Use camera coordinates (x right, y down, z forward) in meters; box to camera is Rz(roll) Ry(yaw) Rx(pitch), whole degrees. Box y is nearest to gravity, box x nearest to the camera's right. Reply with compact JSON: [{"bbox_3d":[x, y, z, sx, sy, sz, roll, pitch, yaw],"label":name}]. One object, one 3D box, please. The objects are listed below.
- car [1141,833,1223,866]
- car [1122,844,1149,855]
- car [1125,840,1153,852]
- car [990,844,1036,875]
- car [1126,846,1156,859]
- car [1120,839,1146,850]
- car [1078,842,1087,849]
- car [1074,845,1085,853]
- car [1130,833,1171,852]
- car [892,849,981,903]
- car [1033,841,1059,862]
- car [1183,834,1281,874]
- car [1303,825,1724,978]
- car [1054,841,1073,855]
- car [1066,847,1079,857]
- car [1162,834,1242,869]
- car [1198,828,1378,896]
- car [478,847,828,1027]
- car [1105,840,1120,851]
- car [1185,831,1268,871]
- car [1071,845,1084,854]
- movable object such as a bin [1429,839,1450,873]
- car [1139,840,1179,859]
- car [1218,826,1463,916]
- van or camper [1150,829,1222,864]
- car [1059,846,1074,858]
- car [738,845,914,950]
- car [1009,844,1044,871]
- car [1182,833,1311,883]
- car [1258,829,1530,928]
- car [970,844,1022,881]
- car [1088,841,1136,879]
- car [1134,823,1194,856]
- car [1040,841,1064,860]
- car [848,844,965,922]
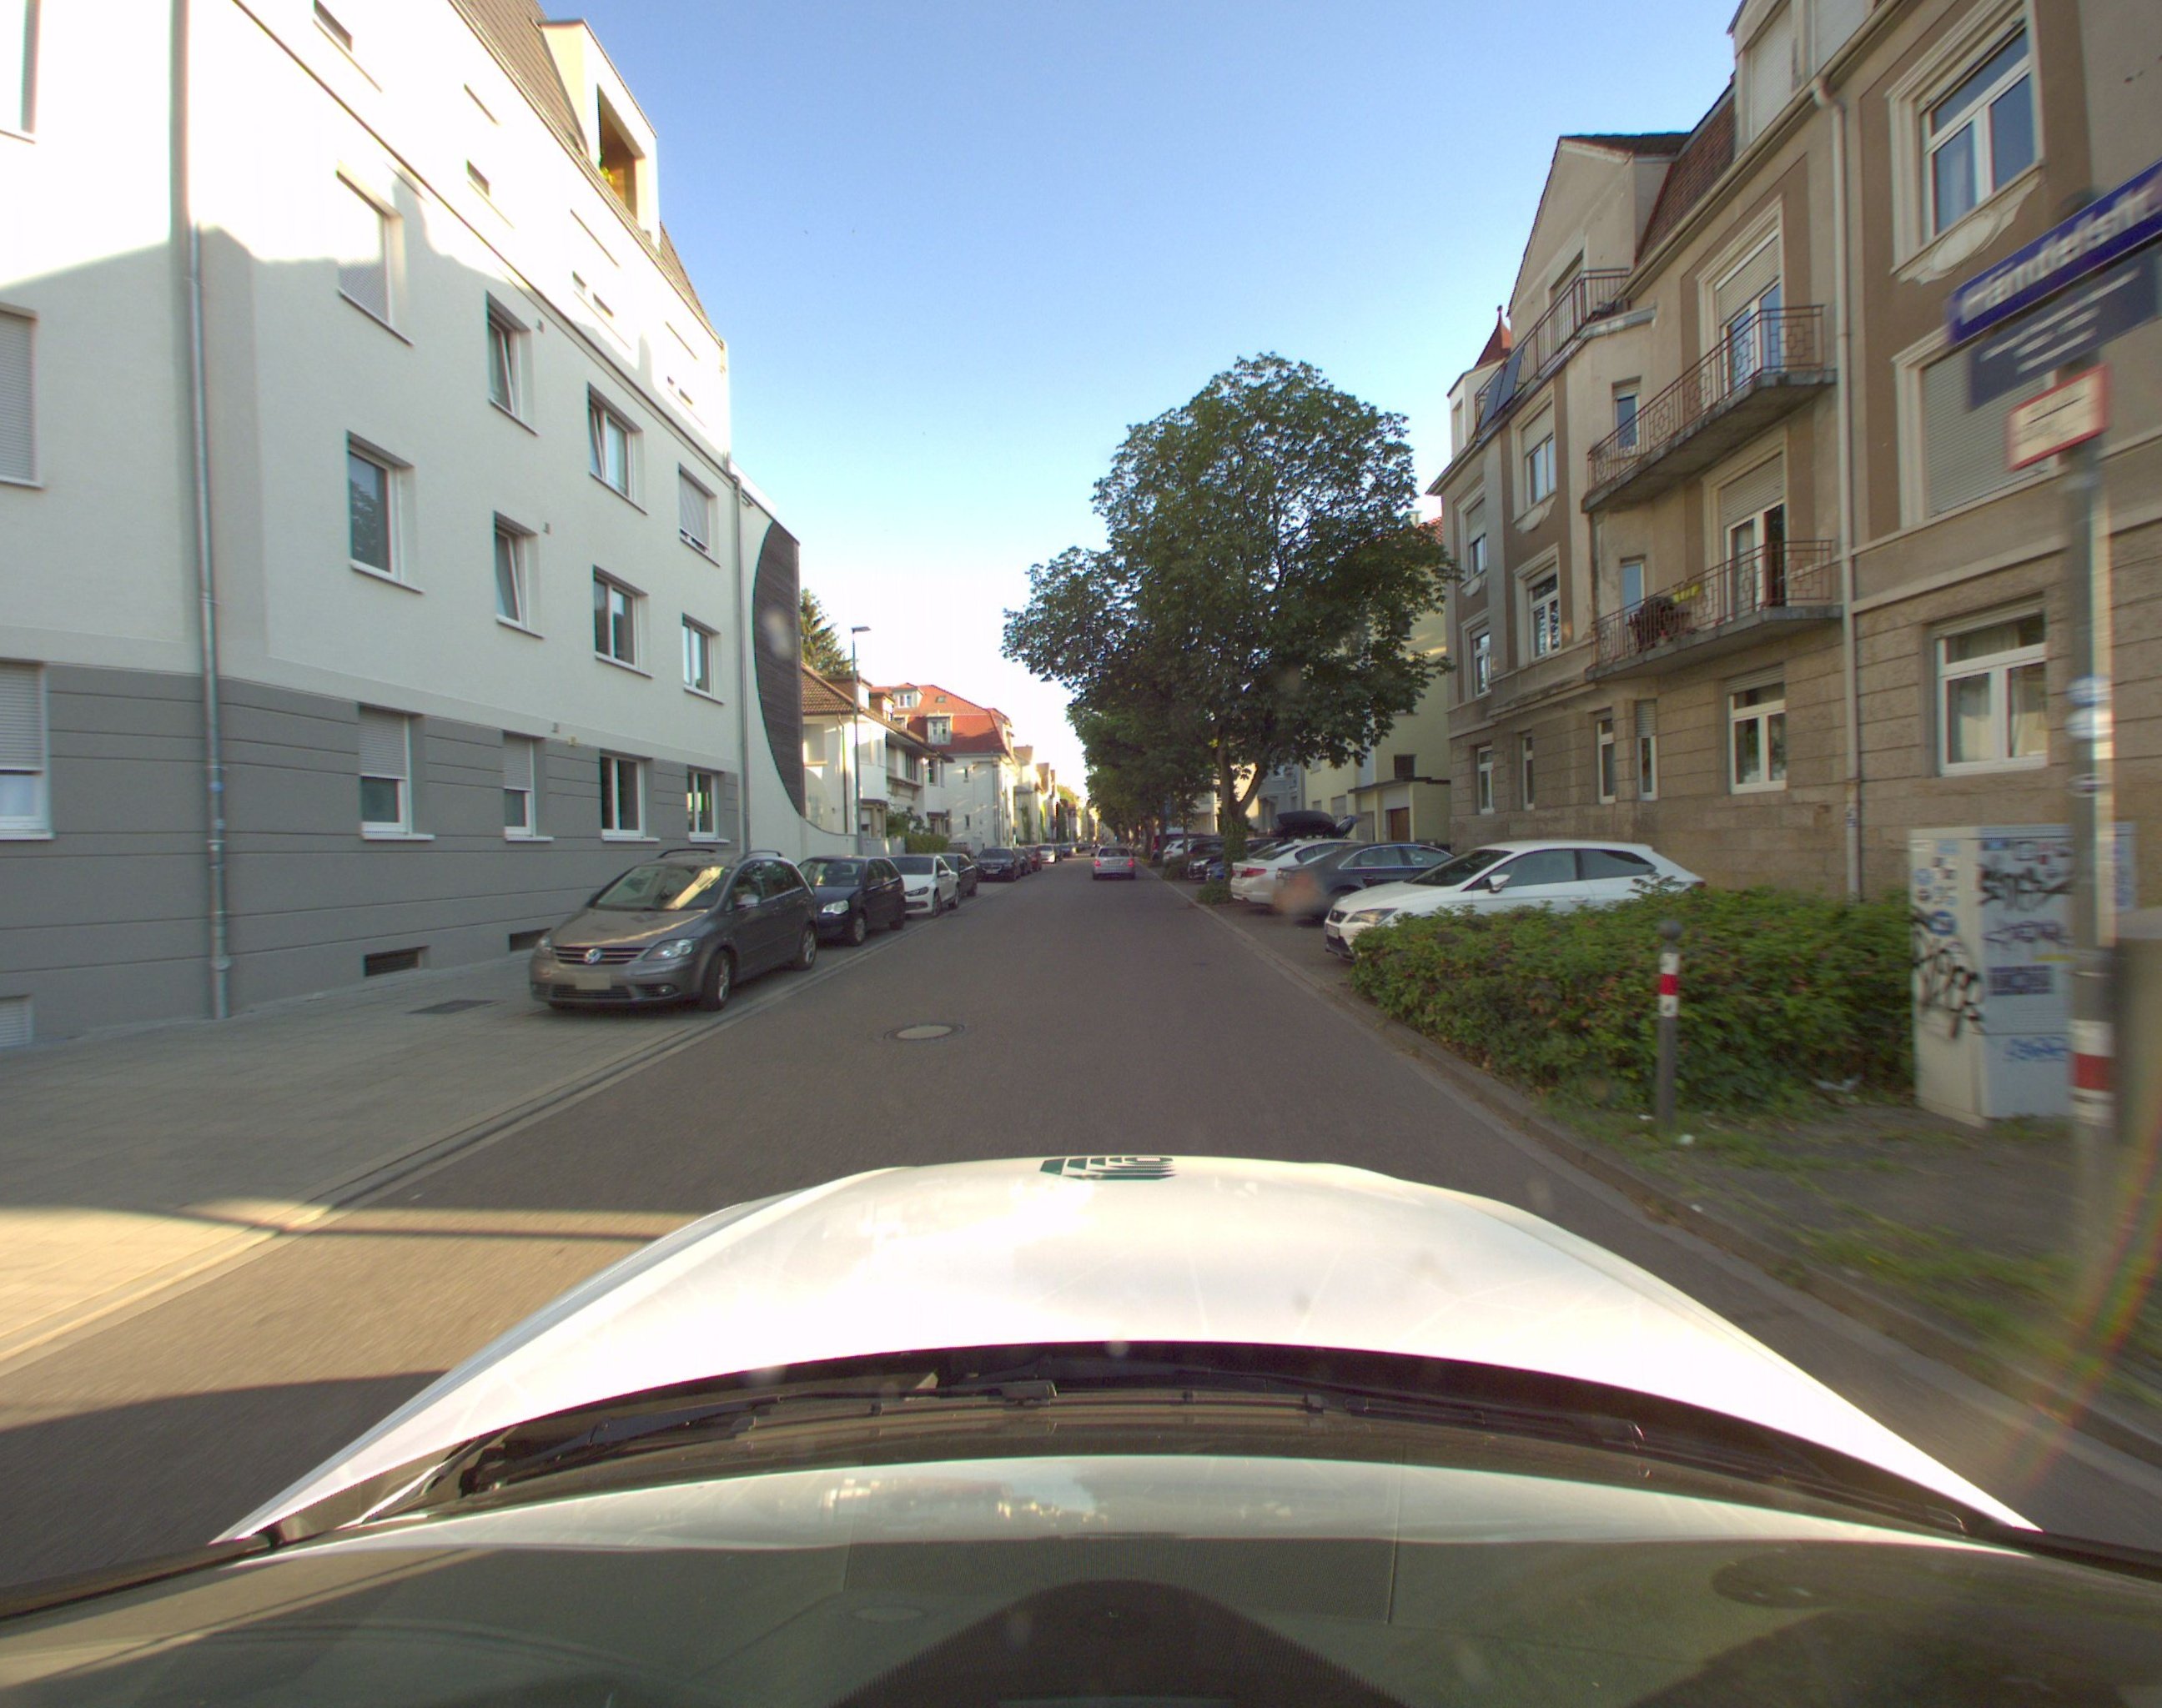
[{"bbox_3d":[5.890,-0.278,47.882,4.609,1.836,1.955,-1,1,1],"label":"car"},{"bbox_3d":[7.848,-0.650,116.942,3.829,1.482,1.806,-2,1,2],"label":"car"},{"bbox_3d":[8.193,-1.149,114.683,3.829,1.482,1.806,-2,1,2],"label":"car"},{"bbox_3d":[-3.472,0.263,42.212,1.776,1.497,4.702,-1,0,2],"label":"car"},{"bbox_3d":[7.839,-0.200,106.473,3.829,1.482,1.806,-2,1,2],"label":"car"},{"bbox_3d":[7.910,-1.467,123.089,3.829,1.482,1.806,-2,1,2],"label":"car"},{"bbox_3d":[0.364,-1.712,171.548,1.792,1.387,3.608,-1,1,2],"label":"car"},{"bbox_3d":[-0.244,-0.902,141.664,1.792,1.387,3.608,-1,1,2],"label":"car"},{"bbox_3d":[7.942,-1.315,93.042,4.504,2.013,2.251,-2,1,0],"label":"car"},{"bbox_3d":[-4.211,0.587,24.386,1.751,1.447,4.144,-1,0,2],"label":"car"},{"bbox_3d":[-2.703,-0.182,62.759,1.653,1.499,3.756,-1,0,2],"label":"car"},{"bbox_3d":[6.442,-0.025,34.972,3.908,1.558,1.727,-2,1,3],"label":"car"},{"bbox_3d":[4.927,0.501,9.730,4.034,1.505,1.862,-2,0,0],"label":"car"},{"bbox_3d":[-1.913,-0.699,90.008,1.792,1.482,3.859,-1,1,2],"label":"car"},{"bbox_3d":[-1.237,-0.332,120.345,1.792,1.387,3.608,-1,1,2],"label":"car"},{"bbox_3d":[5.949,-0.134,40.362,3.718,1.558,1.725,-2,0,0],"label":"car"},{"bbox_3d":[5.655,0.194,22.629,4.511,1.640,1.874,-2,0,0],"label":"car"},{"bbox_3d":[-4.527,0.736,9.458,1.878,1.591,4.089,-1,1,-1],"label":"car"},{"bbox_3d":[4.483,-1.149,115.550,1.808,1.473,4.221,-2,0,4],"label":"car"},{"bbox_3d":[6.716,-0.144,37.803,3.535,1.654,1.725,-2,0,0],"label":"car"},{"bbox_3d":[-0.535,-0.769,130.142,1.792,1.387,3.608,-1,1,2],"label":"car"},{"bbox_3d":[11.613,0.065,26.389,0.454,1.086,0.532,-1,-1,2],"label":"movable object such as a bin"},{"bbox_3d":[7.352,-0.419,76.922,3.583,1.659,1.649,-2,1,-1],"label":"car"},{"bbox_3d":[5.330,0.303,17.100,4.468,1.525,1.951,-3,2,-4],"label":"car"},{"bbox_3d":[6.429,-0.468,50.202,4.293,2.013,2.003,-1,1,4],"label":"van or camper"},{"bbox_3d":[-1.878,-0.305,106.433,1.792,1.482,3.859,-1,1,2],"label":"car"},{"bbox_3d":[-4.383,0.654,14.734,1.878,1.591,4.089,-1,1,-1],"label":"car"},{"bbox_3d":[-3.151,0.207,47.863,1.653,1.488,3.756,-1,0,2],"label":"car"},{"bbox_3d":[5.818,0.132,28.954,4.176,1.558,1.874,-2,0,0],"label":"car"},{"bbox_3d":[5.387,0.397,14.386,4.129,1.448,1.673,-3,0,0],"label":"car"},{"bbox_3d":[-3.688,0.340,36.100,1.849,1.497,4.653,-1,0,-1],"label":"car"},{"bbox_3d":[1.371,0.227,34.613,1.808,1.473,4.221,-2,0,4],"label":"car"},{"bbox_3d":[8.101,-1.425,80.000,5.525,2.968,2.471,-2,1,-1],"label":"car"},{"bbox_3d":[-2.534,-0.330,72.223,1.792,1.644,3.859,-1,1,2],"label":"car"},{"bbox_3d":[-3.977,0.593,19.305,1.878,1.591,4.089,-1,1,-1],"label":"car"}]
